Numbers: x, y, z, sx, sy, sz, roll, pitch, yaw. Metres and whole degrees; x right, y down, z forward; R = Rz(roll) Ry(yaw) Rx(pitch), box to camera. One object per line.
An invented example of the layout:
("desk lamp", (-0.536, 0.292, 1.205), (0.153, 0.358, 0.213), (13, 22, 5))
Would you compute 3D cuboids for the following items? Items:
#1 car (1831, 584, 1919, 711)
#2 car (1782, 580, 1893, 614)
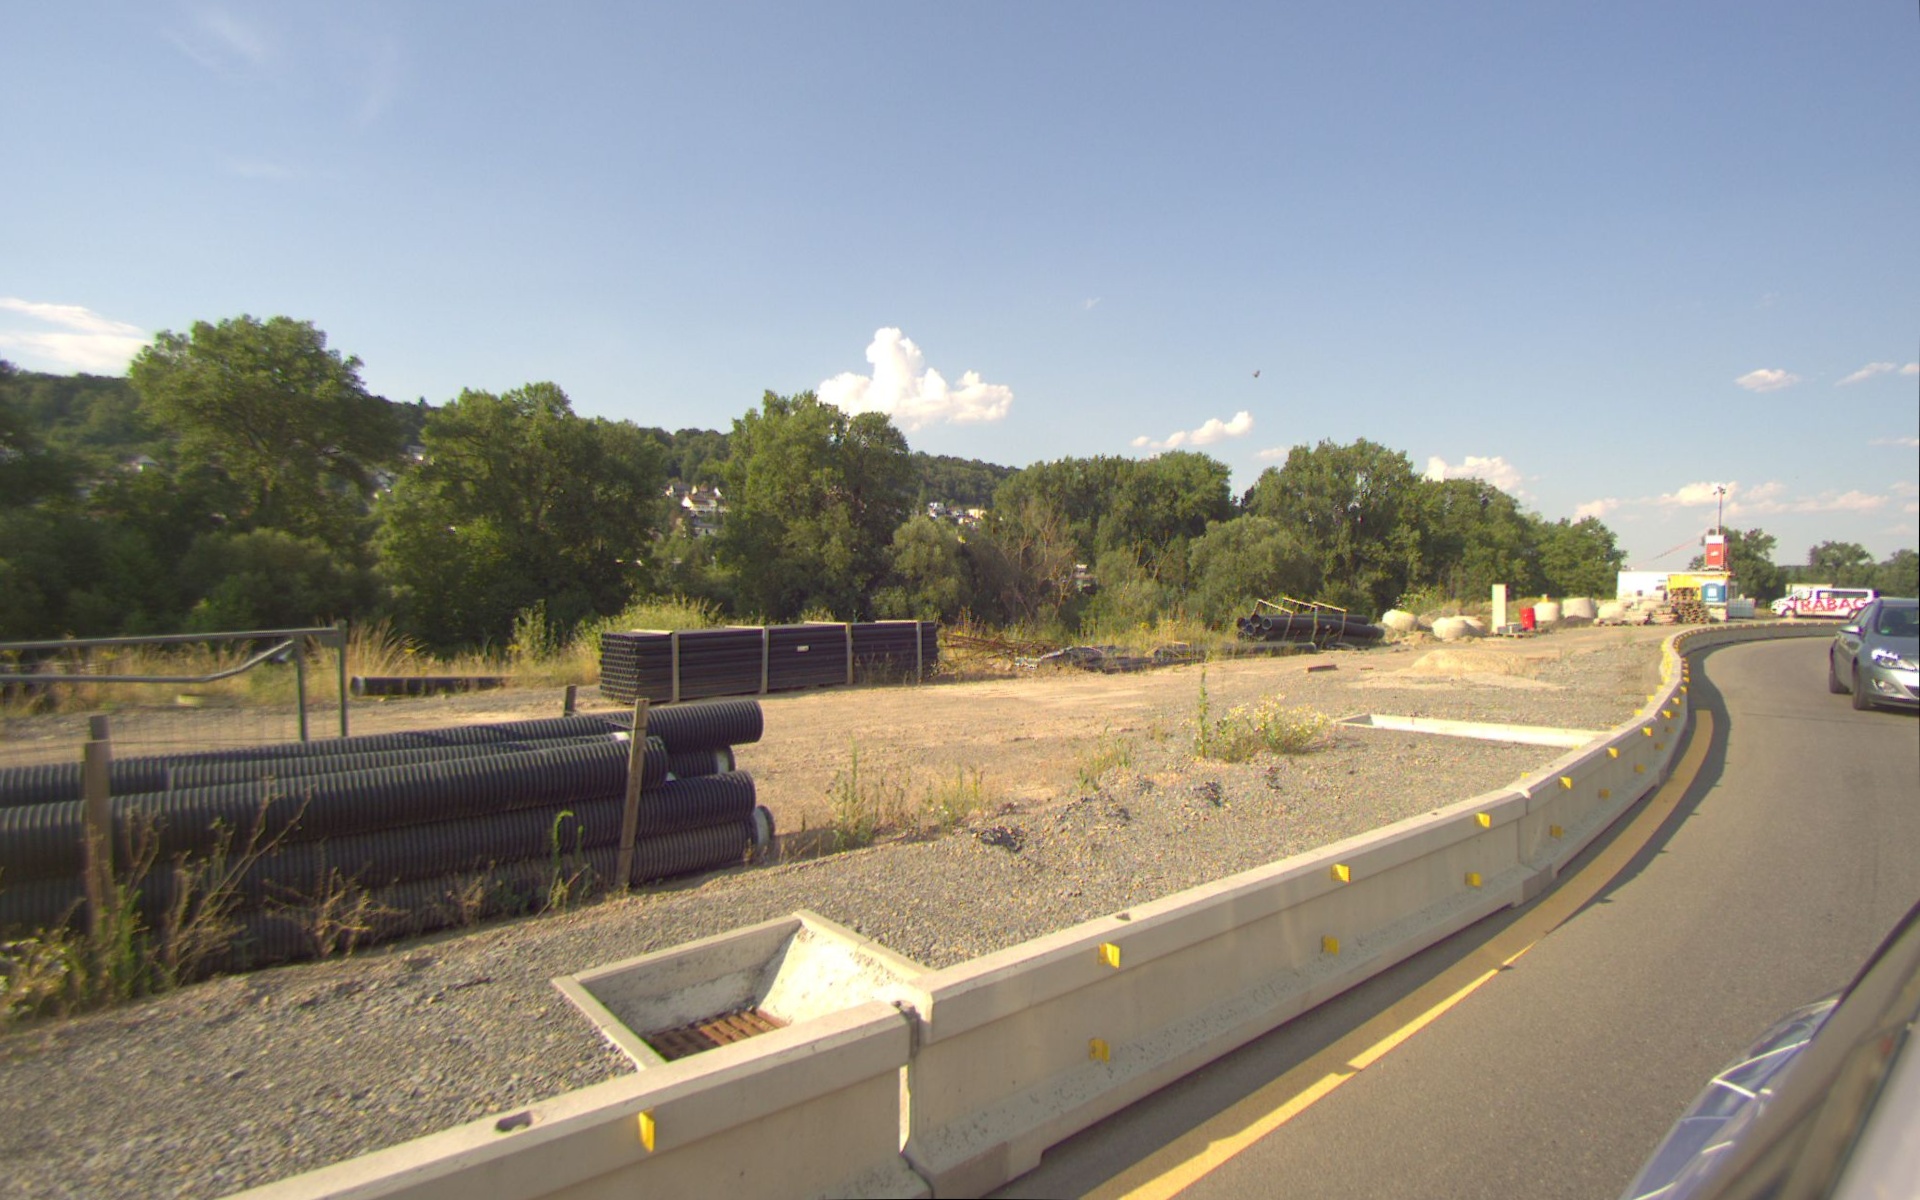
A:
("car", (13.015, 0.550, 13.490), (1.738, 1.503, 4.197), (1, 1, 36))
("car", (56.813, -0.229, 65.721), (5.292, 2.105, 2.453), (1, 1, 39))
